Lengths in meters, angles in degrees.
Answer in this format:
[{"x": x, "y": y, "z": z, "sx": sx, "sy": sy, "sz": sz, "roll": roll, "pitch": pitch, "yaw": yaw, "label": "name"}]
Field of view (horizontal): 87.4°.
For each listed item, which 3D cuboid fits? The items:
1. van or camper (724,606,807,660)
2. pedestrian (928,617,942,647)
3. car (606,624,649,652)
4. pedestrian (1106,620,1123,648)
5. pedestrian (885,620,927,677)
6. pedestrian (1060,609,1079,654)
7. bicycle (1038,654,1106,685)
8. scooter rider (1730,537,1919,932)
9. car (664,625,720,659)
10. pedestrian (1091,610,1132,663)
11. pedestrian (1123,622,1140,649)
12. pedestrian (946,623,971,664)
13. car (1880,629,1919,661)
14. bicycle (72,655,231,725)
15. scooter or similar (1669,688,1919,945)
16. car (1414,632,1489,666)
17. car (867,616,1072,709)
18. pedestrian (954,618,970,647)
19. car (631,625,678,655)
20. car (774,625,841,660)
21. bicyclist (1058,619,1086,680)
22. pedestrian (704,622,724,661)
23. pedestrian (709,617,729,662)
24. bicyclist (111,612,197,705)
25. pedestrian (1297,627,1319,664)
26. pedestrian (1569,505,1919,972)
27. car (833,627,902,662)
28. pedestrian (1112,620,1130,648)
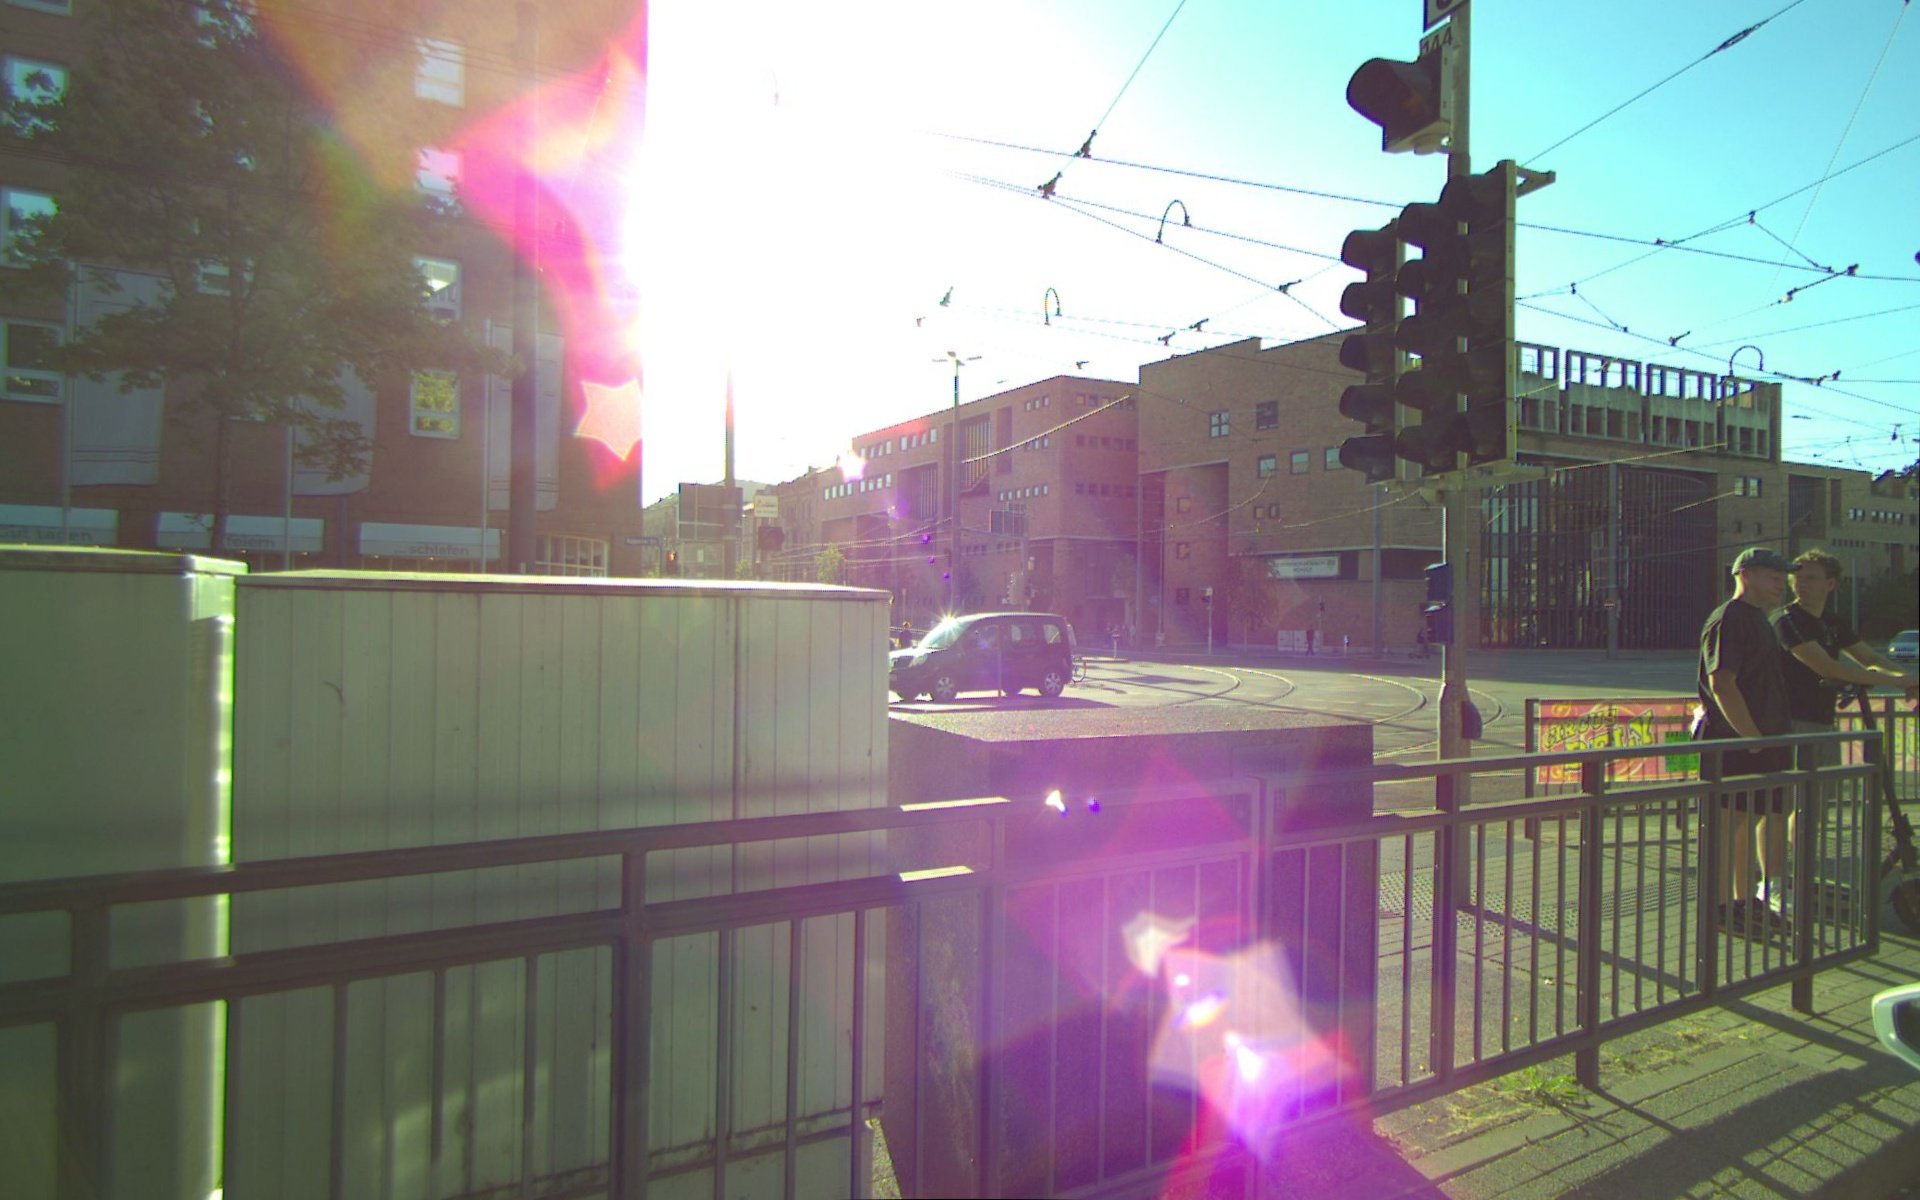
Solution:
[{"x": -9.373, "y": 1.573, "z": 48.019, "sx": 1.981, "sy": 2.451, "sz": 4.980, "roll": 1, "pitch": -2, "yaw": -36, "label": "van or camper"}, {"x": -1.761, "y": 2.243, "z": 70.299, "sx": 0.644, "sy": 2.040, "sz": 0.780, "roll": 1, "pitch": -1, "yaw": -32, "label": "pedestrian"}, {"x": -21.640, "y": 2.463, "z": 65.240, "sx": 1.738, "sy": 1.750, "sz": 3.965, "roll": 1, "pitch": -2, "yaw": -32, "label": "car"}, {"x": 11.649, "y": 2.550, "z": 75.691, "sx": 0.841, "sy": 2.079, "sz": 1.001, "roll": 1, "pitch": -1, "yaw": -32, "label": "pedestrian"}, {"x": -1.790, "y": 1.602, "z": 33.420, "sx": 0.943, "sy": 1.822, "sz": 0.989, "roll": 2, "pitch": 0, "yaw": 40, "label": "pedestrian"}, {"x": 4.990, "y": 1.435, "z": 45.865, "sx": 0.603, "sy": 2.040, "sz": 0.731, "roll": 0, "pitch": -1, "yaw": 30, "label": "pedestrian"}, {"x": 3.087, "y": 1.898, "z": 27.546, "sx": 1.948, "sy": 0.781, "sz": 0.586, "roll": 1, "pitch": -2, "yaw": -35, "label": "bicycle"}, {"x": 4.491, "y": 0.657, "z": 5.188, "sx": 0.670, "sy": 1.877, "sz": 0.564, "roll": 3, "pitch": -2, "yaw": -25, "label": "scooter rider"}, {"x": -14.505, "y": 2.225, "z": 54.212, "sx": 1.739, "sy": 1.750, "sz": 3.963, "roll": 1, "pitch": -2, "yaw": -33, "label": "car"}, {"x": 6.055, "y": 1.451, "z": 40.041, "sx": 1.193, "sy": 2.040, "sz": 1.028, "roll": 2, "pitch": 0, "yaw": -30, "label": "pedestrian"}, {"x": 13.009, "y": 2.679, "z": 76.251, "sx": 0.841, "sy": 2.079, "sz": 1.001, "roll": 1, "pitch": -1, "yaw": -32, "label": "pedestrian"}, {"x": -0.070, "y": 1.889, "z": 44.059, "sx": 0.857, "sy": 1.775, "sz": 0.672, "roll": 1, "pitch": -1, "yaw": -30, "label": "pedestrian"}, {"x": 48.944, "y": 2.299, "z": 51.688, "sx": 3.962, "sy": 1.598, "sz": 1.610, "roll": 1, "pitch": -2, "yaw": -36, "label": "car"}, {"x": -13.370, "y": 1.465, "z": 16.692, "sx": 1.993, "sy": 1.064, "sz": 0.647, "roll": 2, "pitch": -1, "yaw": -35, "label": "bicycle"}, {"x": 4.472, "y": 1.044, "z": 5.164, "sx": 0.639, "sy": 1.095, "sz": 1.199, "roll": 1, "pitch": -1, "yaw": -25, "label": "scooter or similar"}, {"x": 30.285, "y": 2.994, "z": 61.863, "sx": 4.135, "sy": 2.040, "sz": 1.988, "roll": 1, "pitch": -2, "yaw": -25, "label": "car"}, {"x": 0.221, "y": 1.288, "z": 21.180, "sx": 3.954, "sy": 1.785, "sz": 1.859, "roll": 1, "pitch": -3, "yaw": -31, "label": "car"}, {"x": 0.139, "y": 2.227, "z": 68.756, "sx": 0.742, "sy": 2.010, "sz": 0.780, "roll": 1, "pitch": -1, "yaw": -32, "label": "pedestrian"}, {"x": -18.259, "y": 2.350, "z": 59.932, "sx": 1.738, "sy": 1.750, "sz": 3.965, "roll": 1, "pitch": -2, "yaw": -32, "label": "car"}, {"x": -7.799, "y": 2.147, "z": 51.184, "sx": 1.978, "sy": 1.709, "sz": 3.965, "roll": 1, "pitch": -2, "yaw": -33, "label": "car"}, {"x": 3.062, "y": 1.343, "z": 27.538, "sx": 0.509, "sy": 1.647, "sz": 0.583, "roll": 1, "pitch": -1, "yaw": -34, "label": "bicyclist"}, {"x": -11.711, "y": 1.954, "z": 47.778, "sx": 0.597, "sy": 1.843, "sz": 0.848, "roll": 1, "pitch": -1, "yaw": -38, "label": "pedestrian"}, {"x": -10.983, "y": 1.789, "z": 45.777, "sx": 0.597, "sy": 2.040, "sz": 0.848, "roll": 1, "pitch": -1, "yaw": -38, "label": "pedestrian"}, {"x": -13.363, "y": 0.958, "z": 16.681, "sx": 1.022, "sy": 1.494, "sz": 0.649, "roll": 2, "pitch": -1, "yaw": -35, "label": "bicyclist"}, {"x": 18.582, "y": 2.422, "z": 53.634, "sx": 0.866, "sy": 1.927, "sz": 0.718, "roll": 2, "pitch": 0, "yaw": -33, "label": "pedestrian"}, {"x": 3.770, "y": 0.586, "z": 4.832, "sx": 0.843, "sy": 1.908, "sz": 1.164, "roll": 1, "pitch": -1, "yaw": -25, "label": "pedestrian"}, {"x": -4.809, "y": 2.240, "z": 51.809, "sx": 1.978, "sy": 1.709, "sz": 3.965, "roll": 1, "pitch": -2, "yaw": -33, "label": "car"}, {"x": 11.994, "y": 2.555, "z": 74.813, "sx": 0.841, "sy": 2.079, "sz": 1.001, "roll": 1, "pitch": -1, "yaw": -32, "label": "pedestrian"}]
